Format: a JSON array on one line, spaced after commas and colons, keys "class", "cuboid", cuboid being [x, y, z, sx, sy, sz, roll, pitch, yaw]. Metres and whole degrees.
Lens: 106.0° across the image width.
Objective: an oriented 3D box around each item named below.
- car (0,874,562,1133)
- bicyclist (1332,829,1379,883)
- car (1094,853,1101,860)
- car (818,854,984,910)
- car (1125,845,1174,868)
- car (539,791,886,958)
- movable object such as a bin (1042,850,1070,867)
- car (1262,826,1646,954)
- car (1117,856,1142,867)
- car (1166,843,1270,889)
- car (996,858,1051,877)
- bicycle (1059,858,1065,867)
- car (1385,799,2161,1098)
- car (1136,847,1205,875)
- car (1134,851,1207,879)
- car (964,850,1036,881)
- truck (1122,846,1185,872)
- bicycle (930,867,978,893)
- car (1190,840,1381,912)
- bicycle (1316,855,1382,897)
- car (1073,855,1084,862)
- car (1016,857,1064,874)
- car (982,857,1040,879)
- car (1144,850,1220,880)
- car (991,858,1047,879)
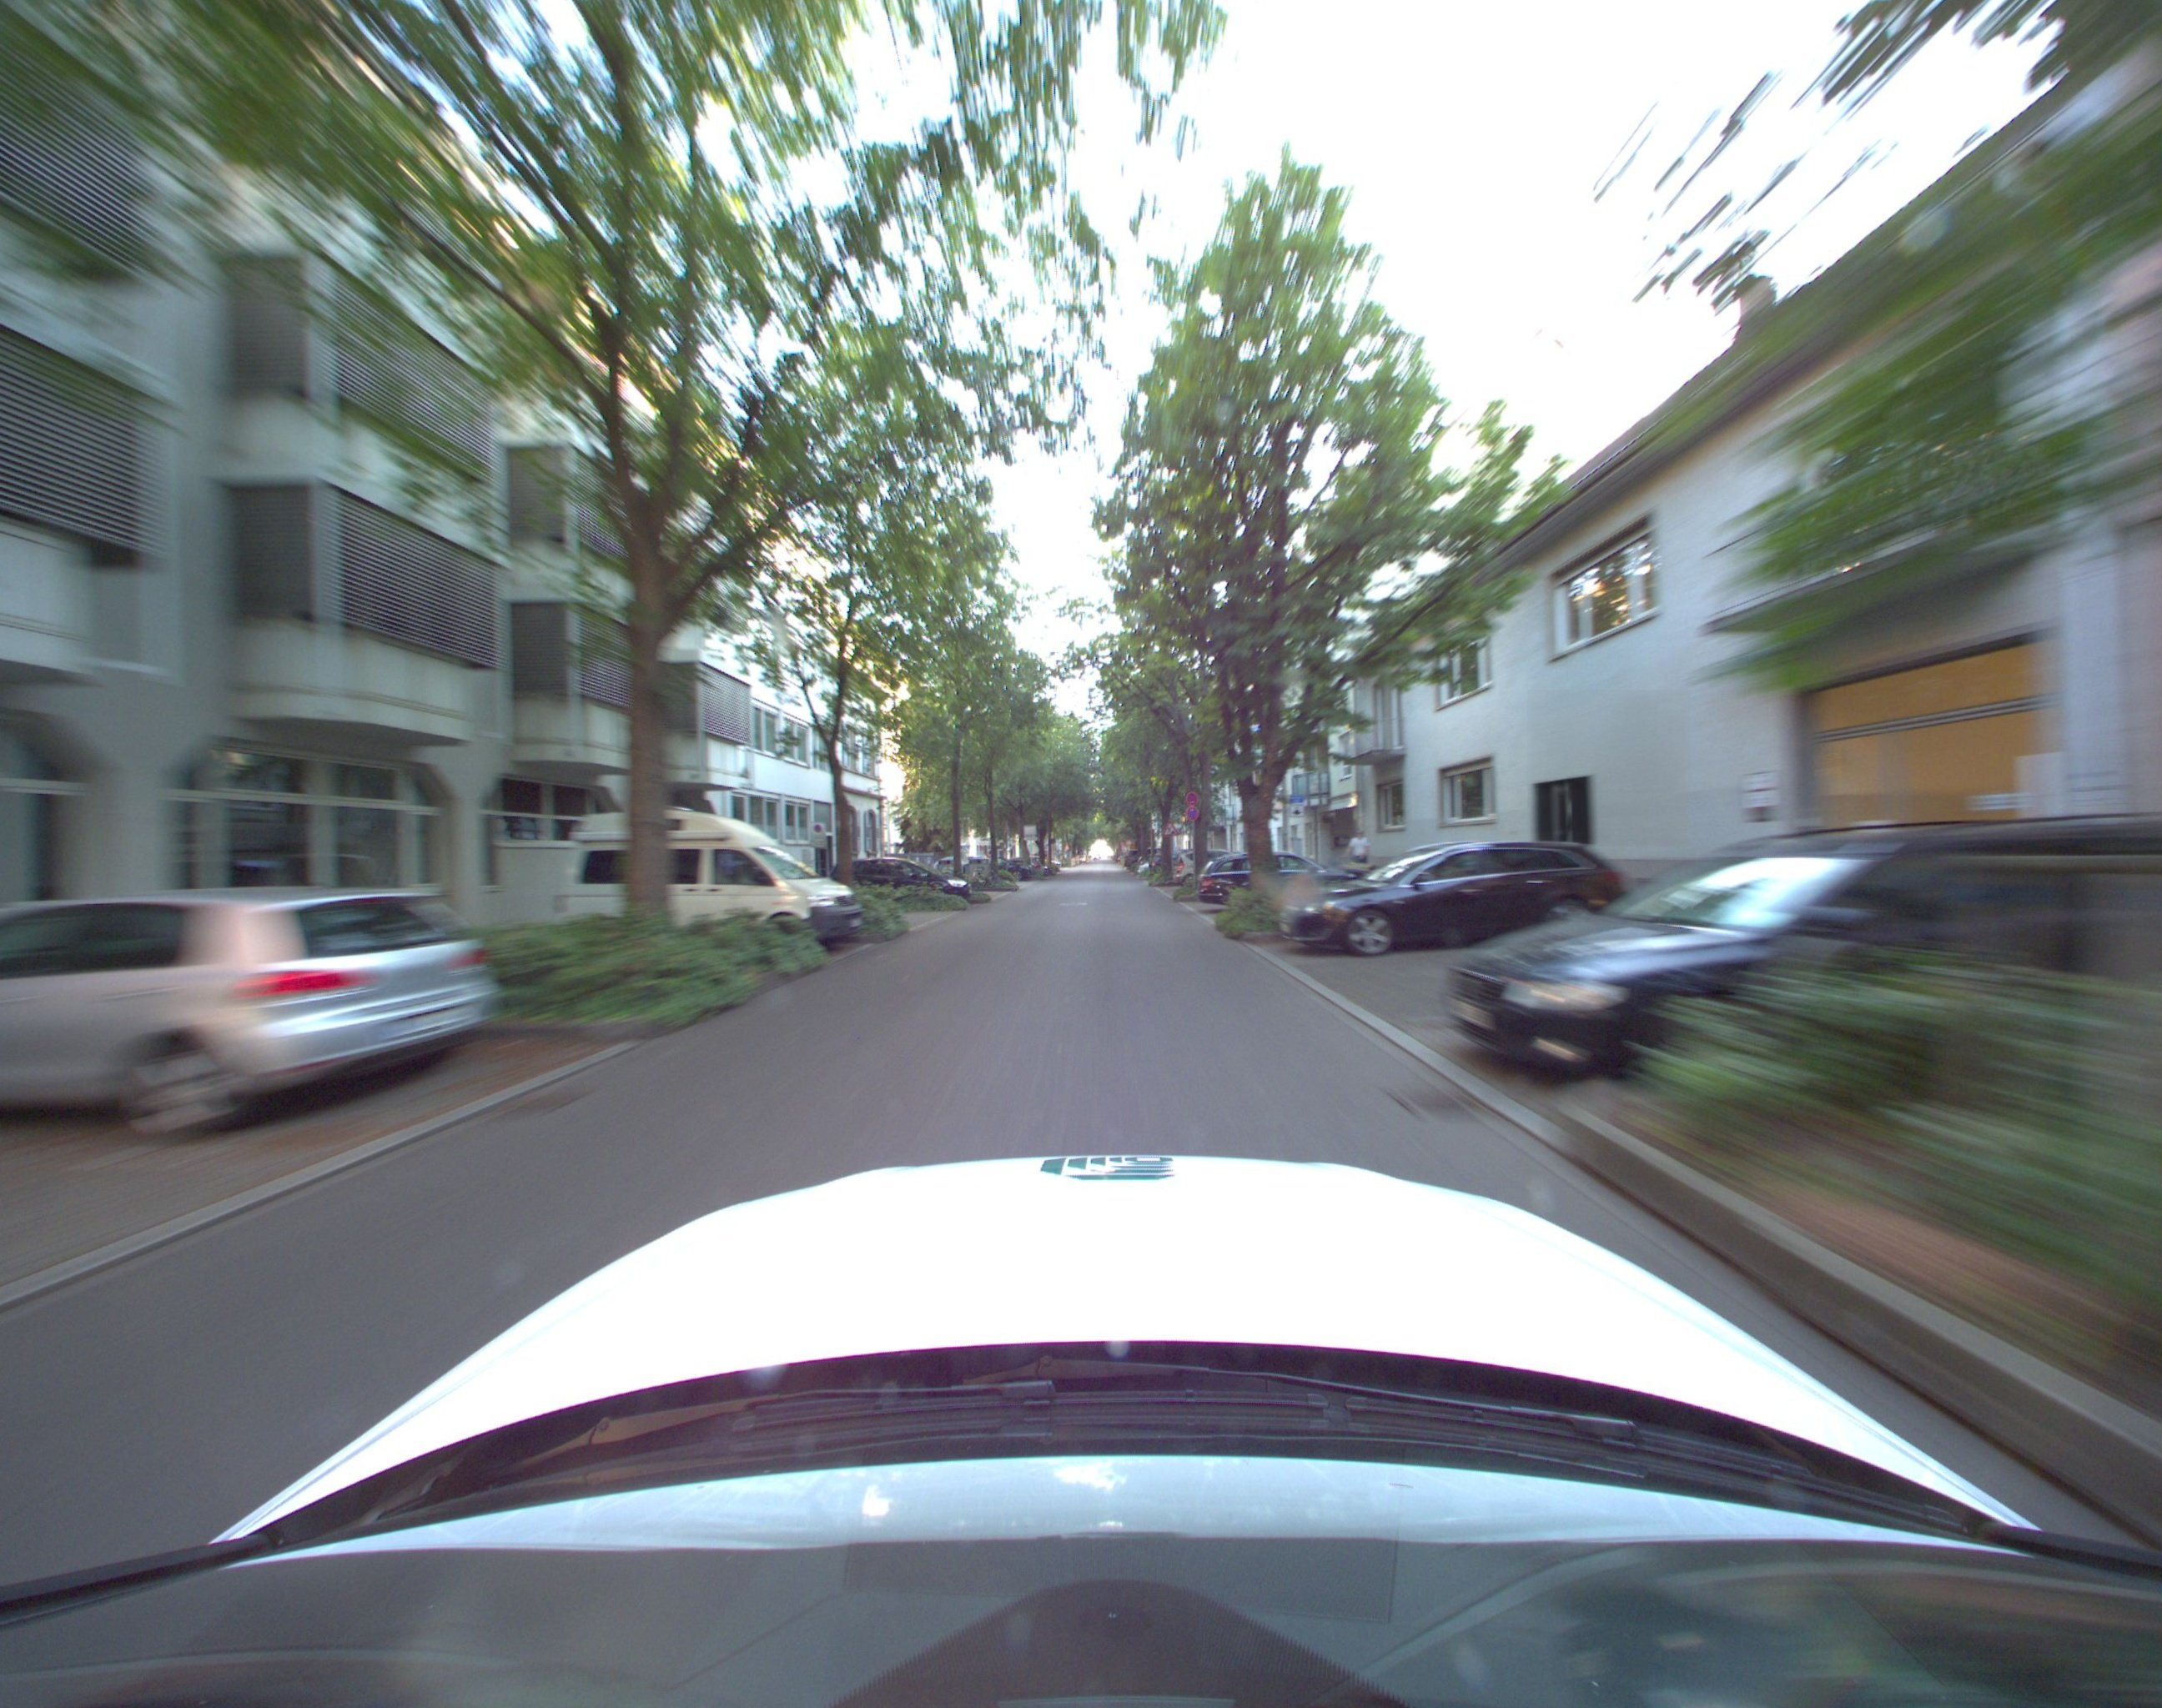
[{"class": "car", "cuboid": [-6.506, 0.963, 5.934, 4.152, 1.468, 1.954, -2, 0, 2]}, {"class": "bicyclist", "cuboid": [8.406, 0.054, 24.999, 0.969, 1.604, 1.134, -2, 0, -5]}, {"class": "car", "cuboid": [4.435, 0.647, 218.333, 2.003, 1.613, 4.119, -1, 0, 0]}, {"class": "car", "cuboid": [-5.777, 0.885, 26.583, 4.834, 1.621, 2.161, -1, 0, 2]}, {"class": "car", "cuboid": [6.679, 0.243, 80.085, 4.585, 2.066, 2.197, -2, 0, 0]}, {"class": "car", "cuboid": [-6.197, 0.335, 14.172, 4.985, 2.573, 2.121, -1, 0, 1]}, {"class": "movable object such as a bin", "cuboid": [-3.672, 0.597, 120.188, 4.039, 2.383, 2.780, -2, 0, -4]}, {"class": "car", "cuboid": [5.221, 0.491, 11.951, 4.659, 1.388, 2.002, -4, 0, 2]}, {"class": "car", "cuboid": [7.697, 1.183, 128.750, 3.970, 1.585, 2.002, -2, 0, 3]}, {"class": "car", "cuboid": [5.673, 0.502, 34.049, 3.956, 1.585, 1.916, -4, 0, 0]}, {"class": "car", "cuboid": [-4.670, 1.089, 66.442, 4.272, 1.430, 1.880, -1, 0, 1]}, {"class": "bicycle", "cuboid": [-2.479, 1.128, 105.627, 0.681, 1.152, 1.978, -2, 0, -4]}, {"class": "car", "cuboid": [4.871, 0.509, 5.536, 4.819, 1.448, 2.044, -4, 0, 3]}, {"class": "car", "cuboid": [6.475, 0.491, 59.294, 4.632, 1.617, 2.008, -5, 0, -3]}, {"class": "car", "cuboid": [5.904, 0.735, 54.126, 4.584, 1.468, 1.796, -4, 0, 0]}, {"class": "car", "cuboid": [-5.273, 0.746, 53.552, 4.491, 1.955, 2.000, -1, 0, -1]}, {"class": "truck", "cuboid": [6.823, 0.494, 77.337, 5.865, 2.311, 2.213, -2, 0, 2]}, {"class": "bicycle", "cuboid": [-4.477, 0.914, 28.690, 1.546, 0.830, 0.614, -1, 0, 4]}, {"class": "car", "cuboid": [5.091, 0.546, 20.854, 4.437, 1.427, 2.014, -4, -1, 5]}, {"class": "bicycle", "cuboid": [8.037, 0.631, 24.603, 0.619, 1.164, 3.396, -2, 0, -4]}, {"class": "car", "cuboid": [-0.560, 0.880, 165.221, 1.989, 1.288, 3.996, -1, 0, -3]}, {"class": "car", "cuboid": [-4.097, 1.139, 82.317, 4.599, 1.552, 2.077, -1, 0, 3]}, {"class": "car", "cuboid": [-5.027, 1.022, 58.770, 3.974, 1.464, 1.922, -1, 0, -1]}, {"class": "car", "cuboid": [5.922, 0.642, 48.100, 4.076, 1.451, 1.932, -5, 0, -4]}, {"class": "car", "cuboid": [-4.832, 1.129, 63.816, 3.966, 1.565, 1.933, -1, 0, 6]}]
